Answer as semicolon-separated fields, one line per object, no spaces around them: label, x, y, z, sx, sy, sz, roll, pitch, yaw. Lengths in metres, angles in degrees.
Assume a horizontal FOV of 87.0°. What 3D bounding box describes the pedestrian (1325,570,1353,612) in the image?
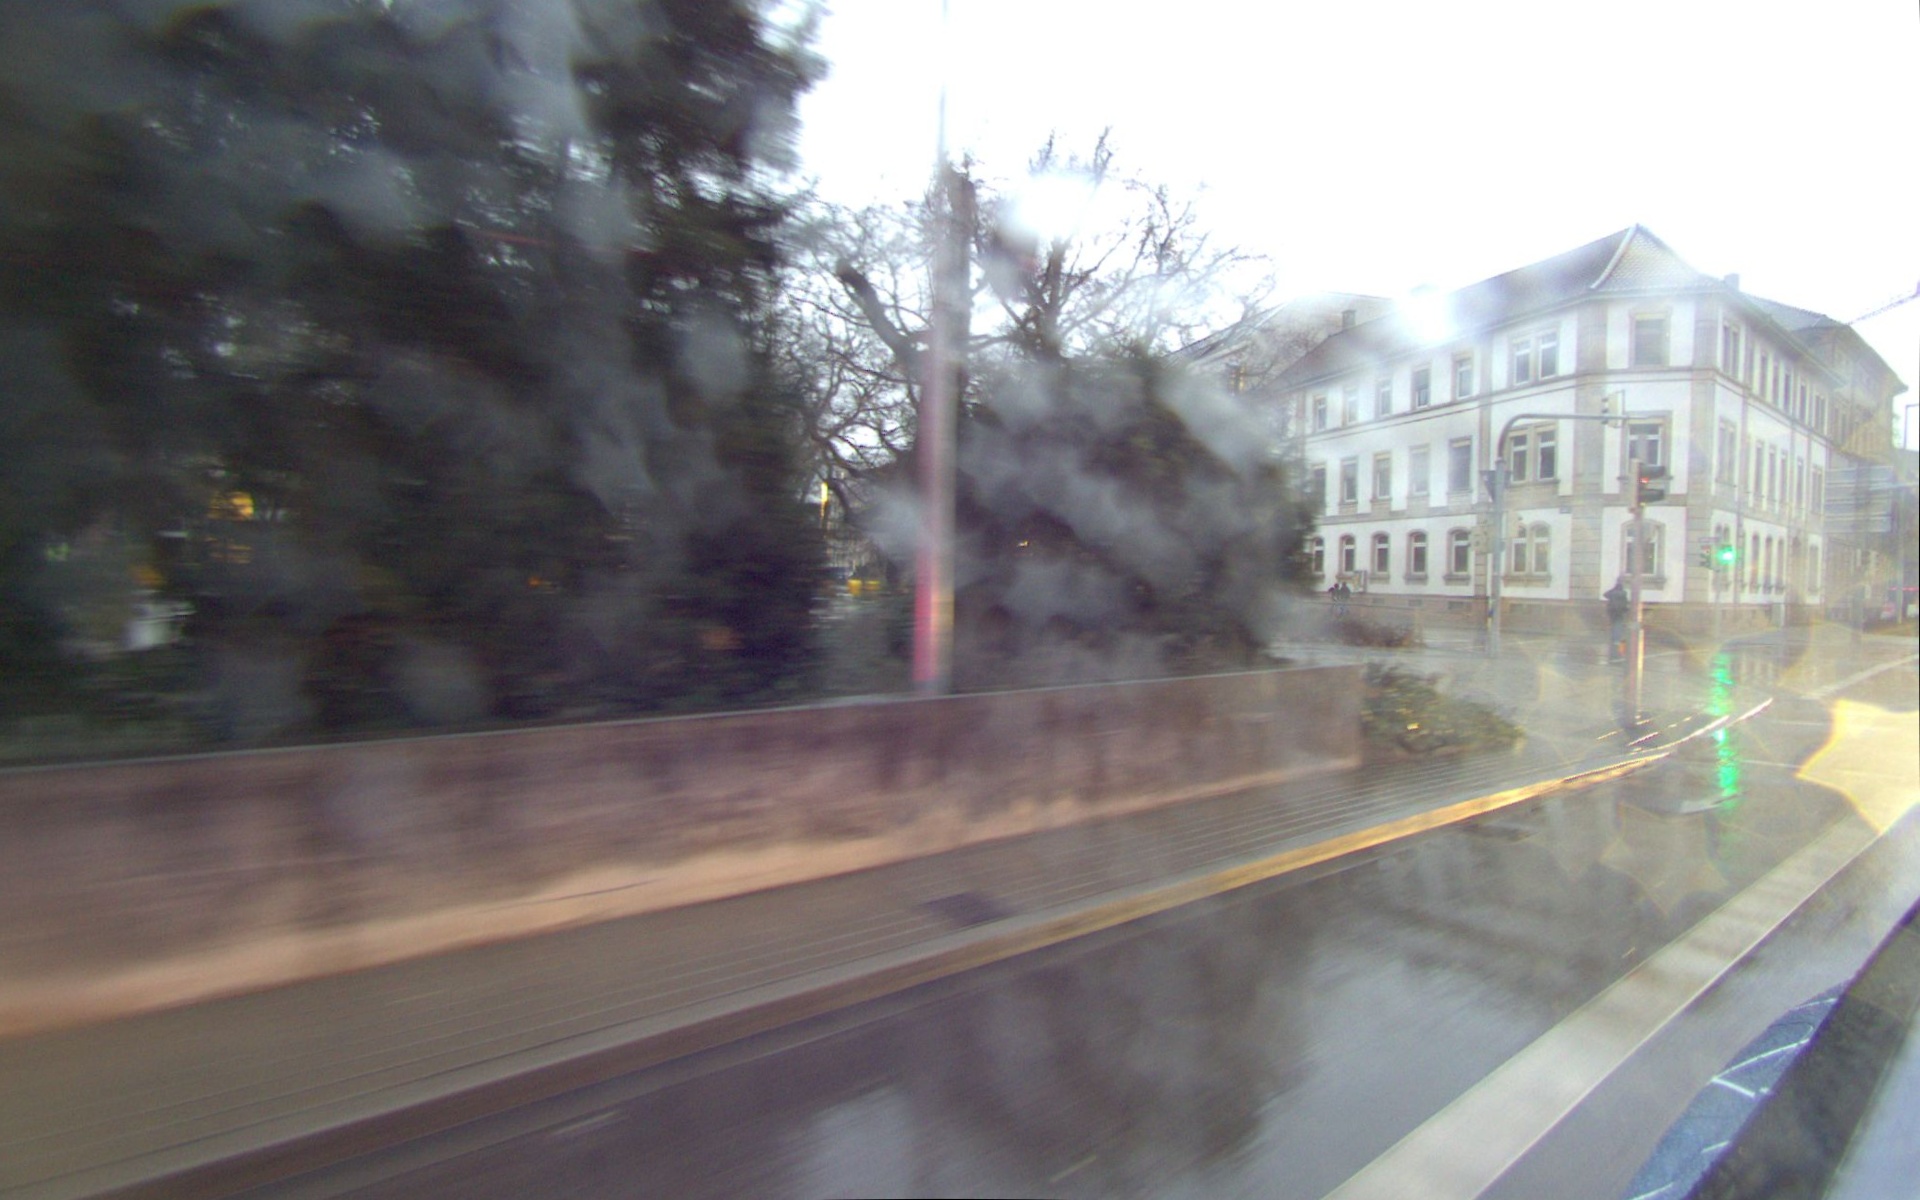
pedestrian;18.378;-0.448;49.085;0.849;2.006;0.980;0;0;-18

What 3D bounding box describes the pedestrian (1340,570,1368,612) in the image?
pedestrian;19.248;-0.451;49.483;0.849;2.006;0.980;0;0;-18

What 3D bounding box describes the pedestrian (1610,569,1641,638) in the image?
pedestrian;18.613;0.088;28.316;0.672;1.903;0.705;0;0;39
